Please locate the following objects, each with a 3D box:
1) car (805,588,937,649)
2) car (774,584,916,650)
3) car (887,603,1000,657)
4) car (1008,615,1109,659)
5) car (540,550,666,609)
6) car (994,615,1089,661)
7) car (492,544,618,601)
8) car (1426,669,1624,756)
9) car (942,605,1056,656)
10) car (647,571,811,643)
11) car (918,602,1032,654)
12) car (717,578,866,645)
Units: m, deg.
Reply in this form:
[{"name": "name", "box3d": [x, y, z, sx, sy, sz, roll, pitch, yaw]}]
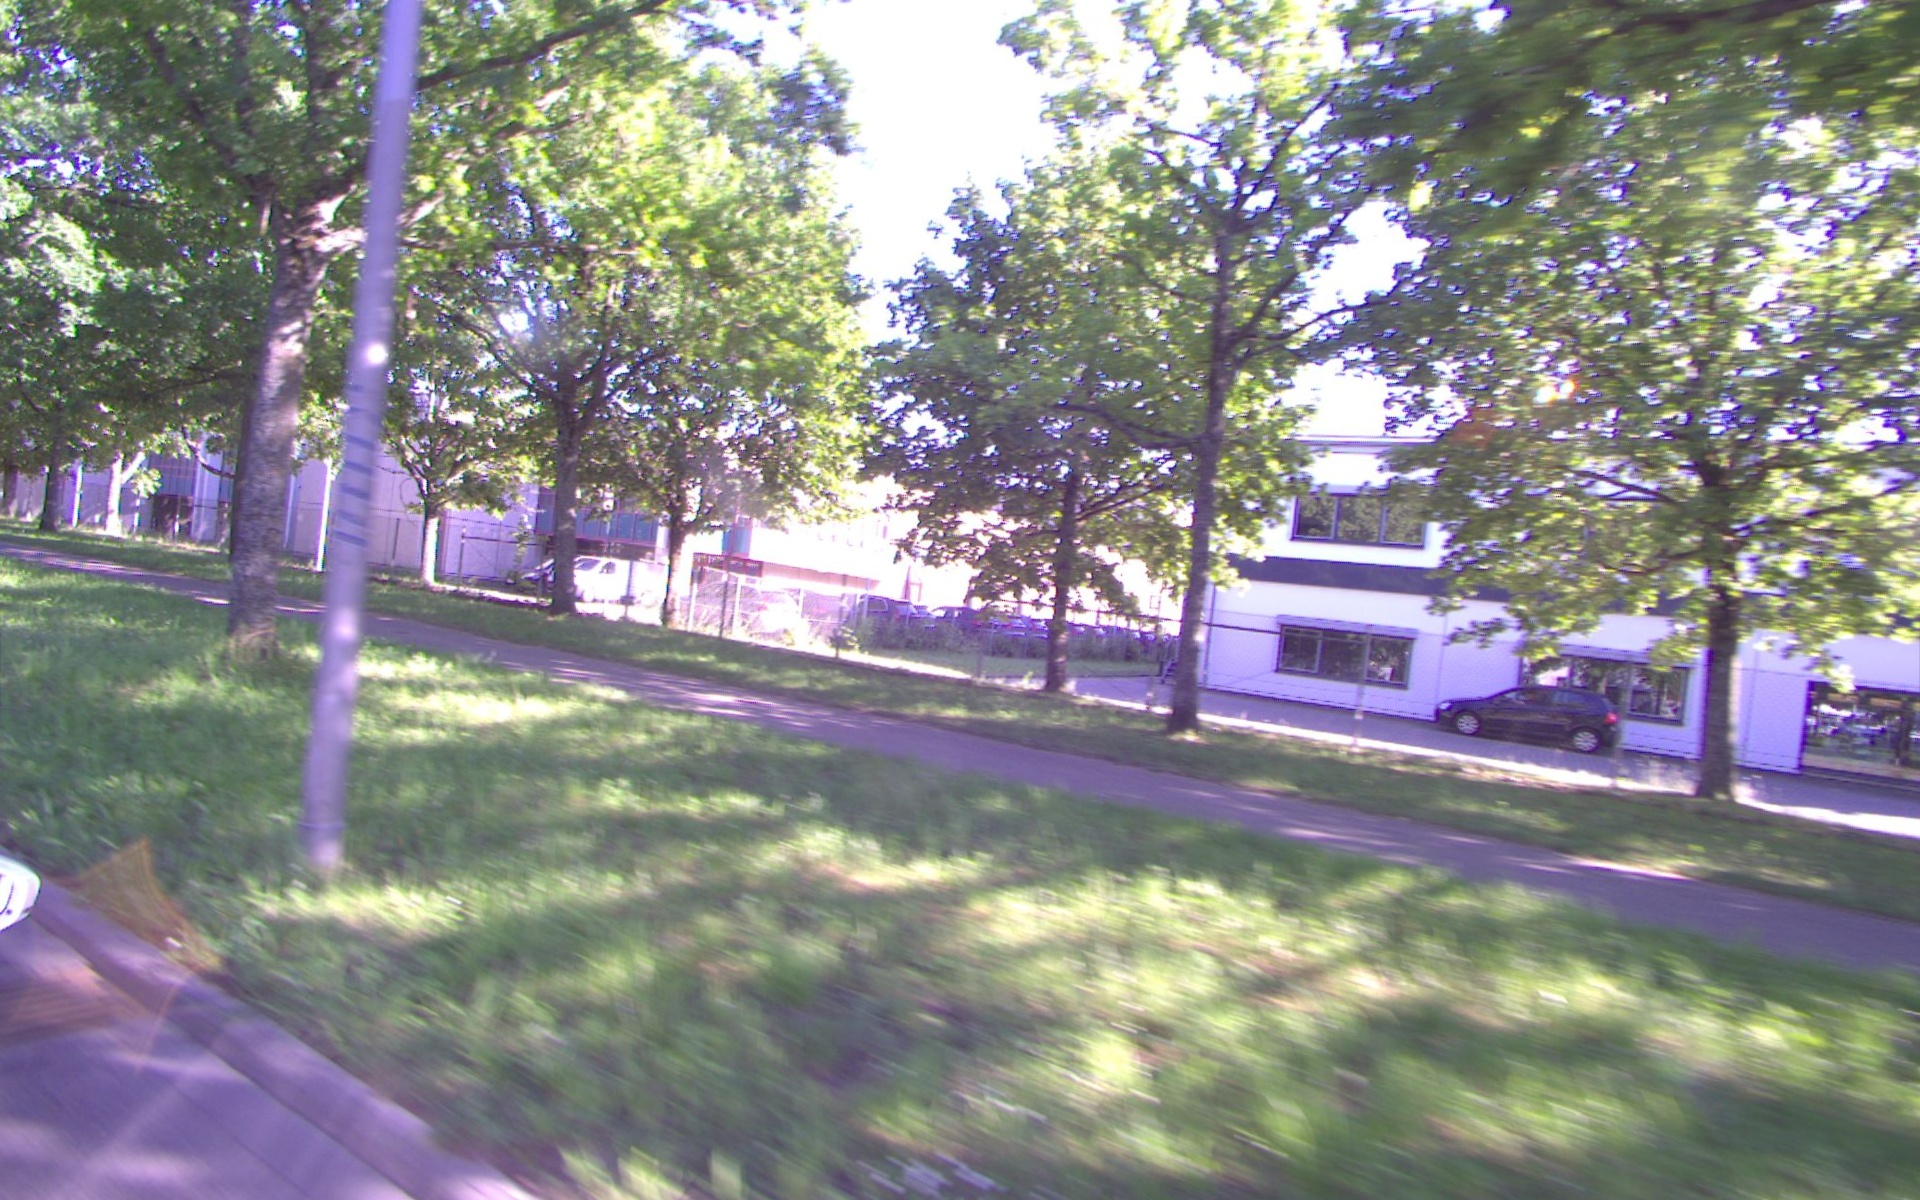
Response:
[{"name": "car", "box3d": [-3.339, 0.692, 37.852, 4.376, 1.692, 2.000, 7, -2, 25]}, {"name": "car", "box3d": [-4.001, 0.577, 34.843, 4.379, 1.693, 1.997, 7, 0, 28]}, {"name": "car", "box3d": [-0.718, 1.223, 41.824, 4.387, 1.675, 1.696, 6, -2, 36]}, {"name": "car", "box3d": [5.106, 1.914, 52.432, 4.879, 1.692, 1.739, 6, -2, 36]}, {"name": "car", "box3d": [-14.944, -0.813, 42.431, 1.861, 1.984, 5.074, 7, 0, 25]}, {"name": "car", "box3d": [4.032, 1.881, 50.198, 4.279, 1.692, 1.739, 6, -2, 36]}, {"name": "car", "box3d": [-17.620, -1.141, 44.065, 1.964, 1.907, 4.960, 7, 0, 25]}, {"name": "car", "box3d": [14.110, 2.780, 25.254, 4.091, 1.523, 1.719, 6, -2, 33]}, {"name": "car", "box3d": [1.746, 1.395, 46.013, 4.890, 1.692, 1.740, 6, -2, 33]}, {"name": "car", "box3d": [-7.083, 0.210, 30.747, 4.635, 1.626, 1.997, 6, 0, 28]}, {"name": "car", "box3d": [0.620, 1.199, 43.768, 4.646, 1.692, 1.703, 6, -2, 36]}, {"name": "car", "box3d": [-5.518, 0.374, 32.906, 4.379, 1.578, 1.997, 7, 0, 28]}]
